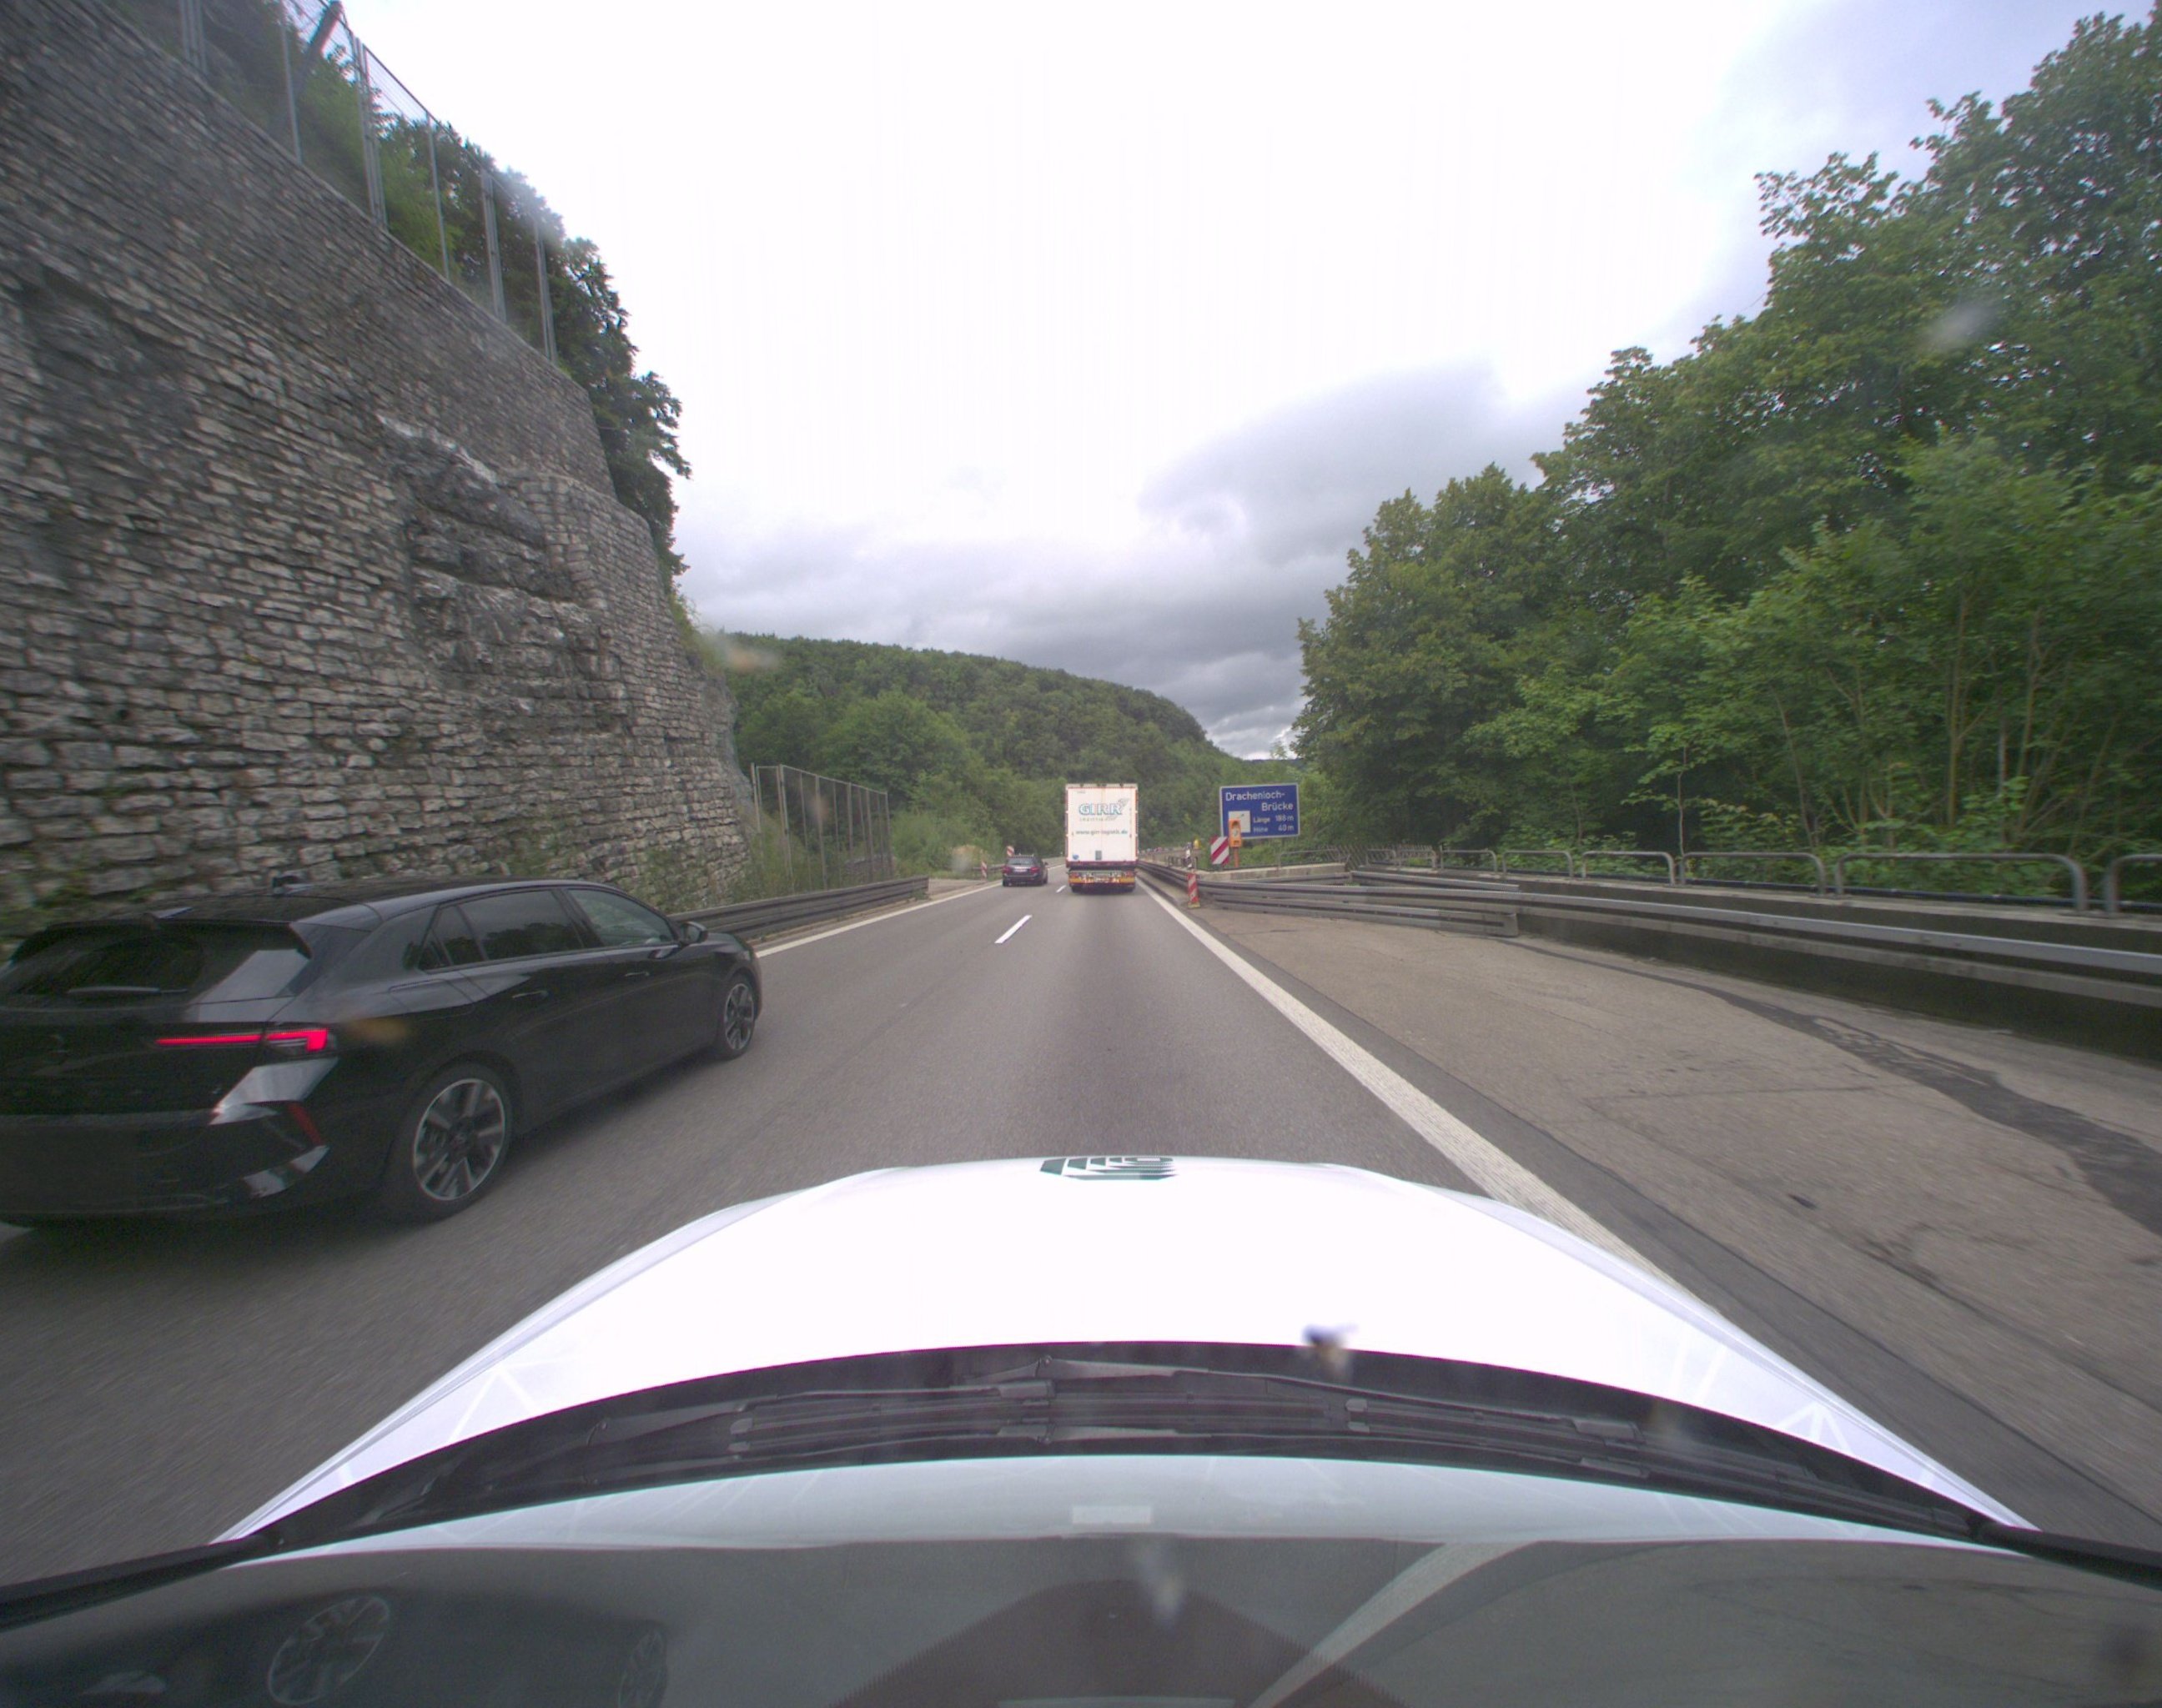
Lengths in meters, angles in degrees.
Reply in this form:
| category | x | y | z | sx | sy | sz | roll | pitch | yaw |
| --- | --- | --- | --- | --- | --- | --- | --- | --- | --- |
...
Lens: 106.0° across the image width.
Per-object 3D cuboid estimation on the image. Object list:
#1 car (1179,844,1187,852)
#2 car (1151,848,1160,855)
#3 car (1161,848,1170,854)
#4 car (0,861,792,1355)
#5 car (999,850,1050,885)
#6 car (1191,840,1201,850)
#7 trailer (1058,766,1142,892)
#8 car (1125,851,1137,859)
| category | x | y | z | sx | sy | sz | roll | pitch | yaw |
| --- | --- | --- | --- | --- | --- | --- | --- | --- | --- |
| car | 30.052 | -1.817 | 239.830 | 1.980 | 2.080 | 4.013 | -1 | -1 | 12 |
| car | 19.304 | -0.540 | 211.192 | 1.980 | 1.684 | 4.013 | -1 | -1 | 12 |
| car | 24.106 | -0.926 | 232.799 | 1.980 | 1.684 | 4.013 | -1 | -1 | 12 |
| car | -3.491 | 0.815 | 4.806 | 1.766 | 1.461 | 4.584 | -1 | 0 | 2 |
| car | -2.627 | 0.611 | 38.631 | 1.876 | 1.510 | 4.421 | -2 | 0 | 2 |
| car | 35.871 | -2.713 | 254.016 | 2.348 | 2.967 | 6.876 | -1 | -1 | 13 |
| trailer | 0.850 | -0.840 | 34.533 | 2.803 | 4.302 | 12.249 | -2 | 0 | 2 |
| car | 10.598 | 0.212 | 173.722 | 1.980 | 1.684 | 4.013 | -1 | -1 | 12 |
